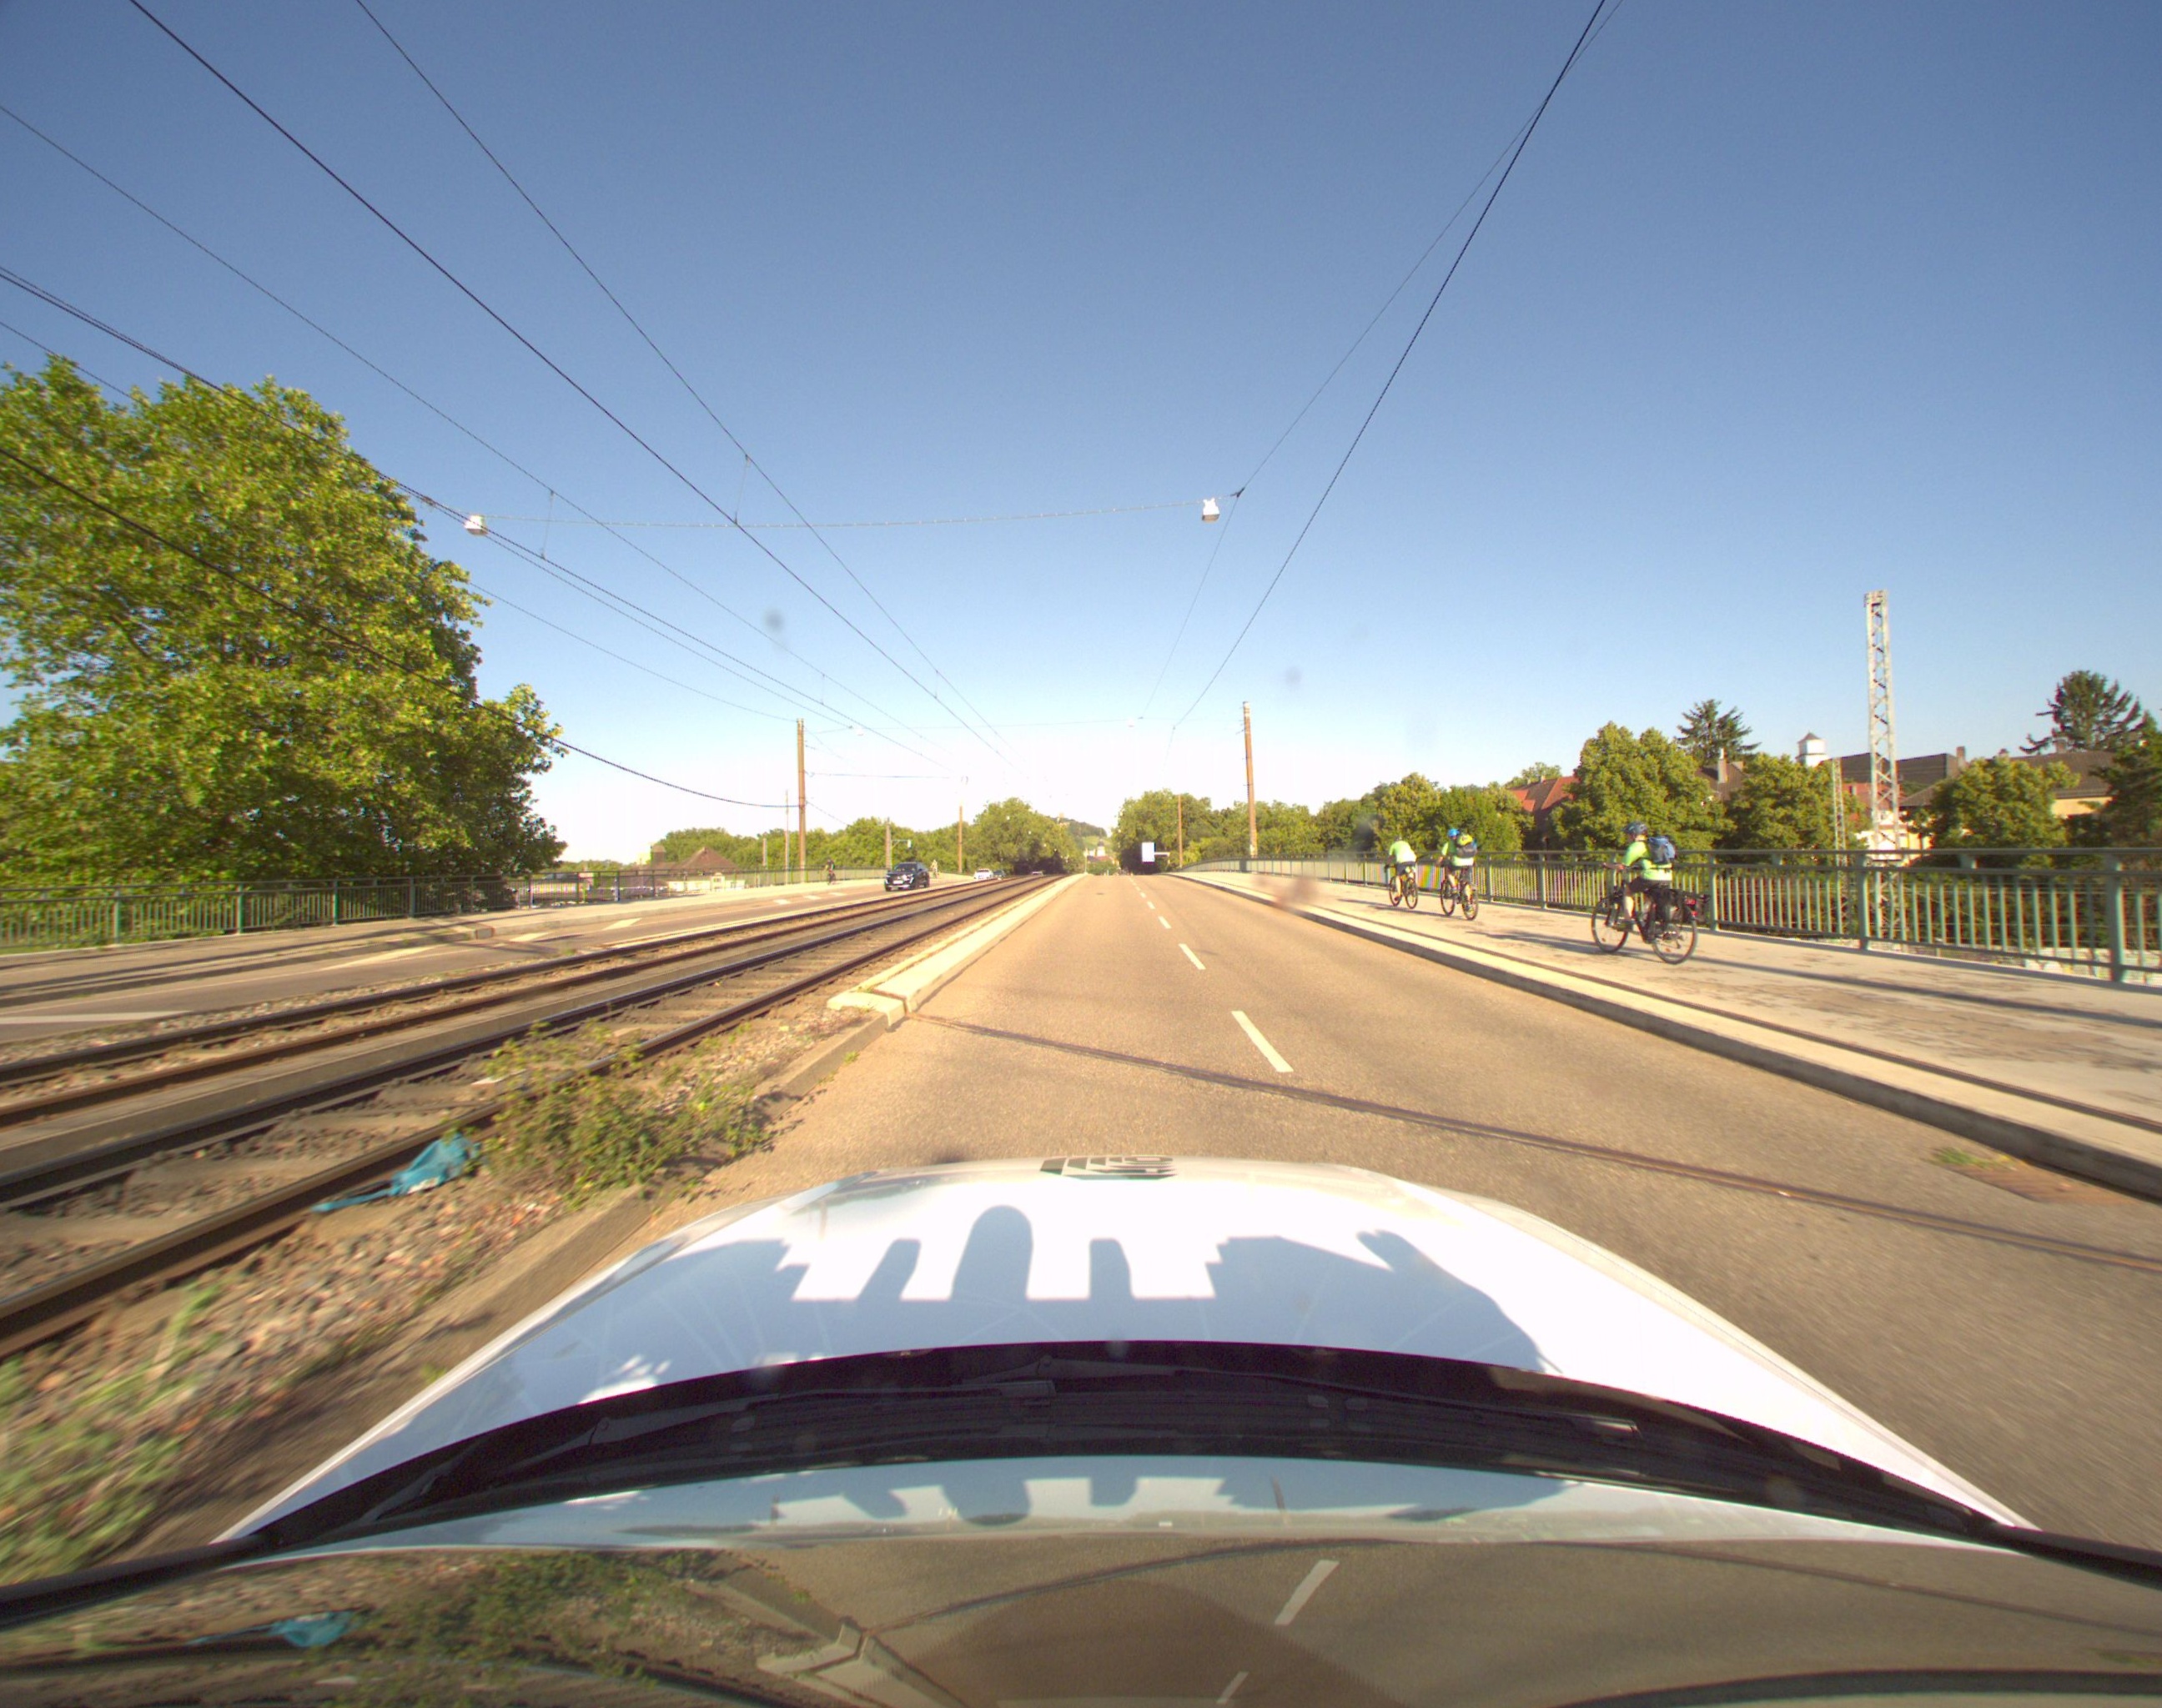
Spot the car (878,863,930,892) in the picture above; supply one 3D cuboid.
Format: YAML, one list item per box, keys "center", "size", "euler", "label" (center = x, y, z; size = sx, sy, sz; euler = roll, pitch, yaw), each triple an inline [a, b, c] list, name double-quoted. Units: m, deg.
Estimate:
- center: [-9.740, 1.258, 45.099]
  size: [1.842, 1.502, 4.220]
  euler: [-1, -1, 2]
  label: "car"

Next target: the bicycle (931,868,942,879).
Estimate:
- center: [-14.593, 1.941, 82.121]
  size: [0.623, 1.122, 2.260]
  euler: [-1, -1, 2]
  label: "bicycle"

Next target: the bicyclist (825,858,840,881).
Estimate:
- center: [-15.857, 1.009, 51.987]
  size: [0.623, 1.432, 0.969]
  euler: [-1, -1, 2]
  label: "bicyclist"

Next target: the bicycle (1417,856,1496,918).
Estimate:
- center: [7.209, 0.615, 15.737]
  size: [0.623, 1.122, 2.042]
  euler: [-1, -1, 2]
  label: "bicycle"

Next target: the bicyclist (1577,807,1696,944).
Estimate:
- center: [6.651, 0.248, 9.798]
  size: [0.809, 1.562, 0.897]
  euler: [-1, 0, 1]
  label: "bicyclist"

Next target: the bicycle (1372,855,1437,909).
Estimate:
- center: [7.295, 0.608, 18.457]
  size: [0.623, 1.122, 2.260]
  euler: [-1, -1, 2]
  label: "bicycle"

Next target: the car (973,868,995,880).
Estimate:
- center: [-11.182, 2.274, 94.070]
  size: [1.677, 1.356, 4.922]
  euler: [-1, -1, 2]
  label: "car"

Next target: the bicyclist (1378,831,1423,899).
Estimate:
- center: [7.288, 0.257, 18.620]
  size: [0.623, 1.508, 1.006]
  euler: [-1, -1, 2]
  label: "bicyclist"

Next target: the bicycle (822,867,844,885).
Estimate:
- center: [-15.847, 1.383, 52.109]
  size: [0.623, 1.122, 2.260]
  euler: [-1, -1, 2]
  label: "bicycle"

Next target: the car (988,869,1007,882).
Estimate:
- center: [-10.821, 2.773, 105.659]
  size: [1.772, 1.650, 4.448]
  euler: [-1, -1, 2]
  label: "car"

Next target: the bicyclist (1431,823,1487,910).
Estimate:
- center: [7.195, 0.236, 15.528]
  size: [0.623, 1.592, 0.931]
  euler: [-1, -1, 2]
  label: "bicyclist"

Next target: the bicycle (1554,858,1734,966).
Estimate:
- center: [6.667, 0.627, 9.814]
  size: [0.681, 1.122, 2.217]
  euler: [-1, 0, 2]
  label: "bicycle"

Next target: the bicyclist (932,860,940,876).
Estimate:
- center: [-14.601, 1.396, 82.117]
  size: [0.623, 1.633, 0.936]
  euler: [-1, -1, 2]
  label: "bicyclist"
